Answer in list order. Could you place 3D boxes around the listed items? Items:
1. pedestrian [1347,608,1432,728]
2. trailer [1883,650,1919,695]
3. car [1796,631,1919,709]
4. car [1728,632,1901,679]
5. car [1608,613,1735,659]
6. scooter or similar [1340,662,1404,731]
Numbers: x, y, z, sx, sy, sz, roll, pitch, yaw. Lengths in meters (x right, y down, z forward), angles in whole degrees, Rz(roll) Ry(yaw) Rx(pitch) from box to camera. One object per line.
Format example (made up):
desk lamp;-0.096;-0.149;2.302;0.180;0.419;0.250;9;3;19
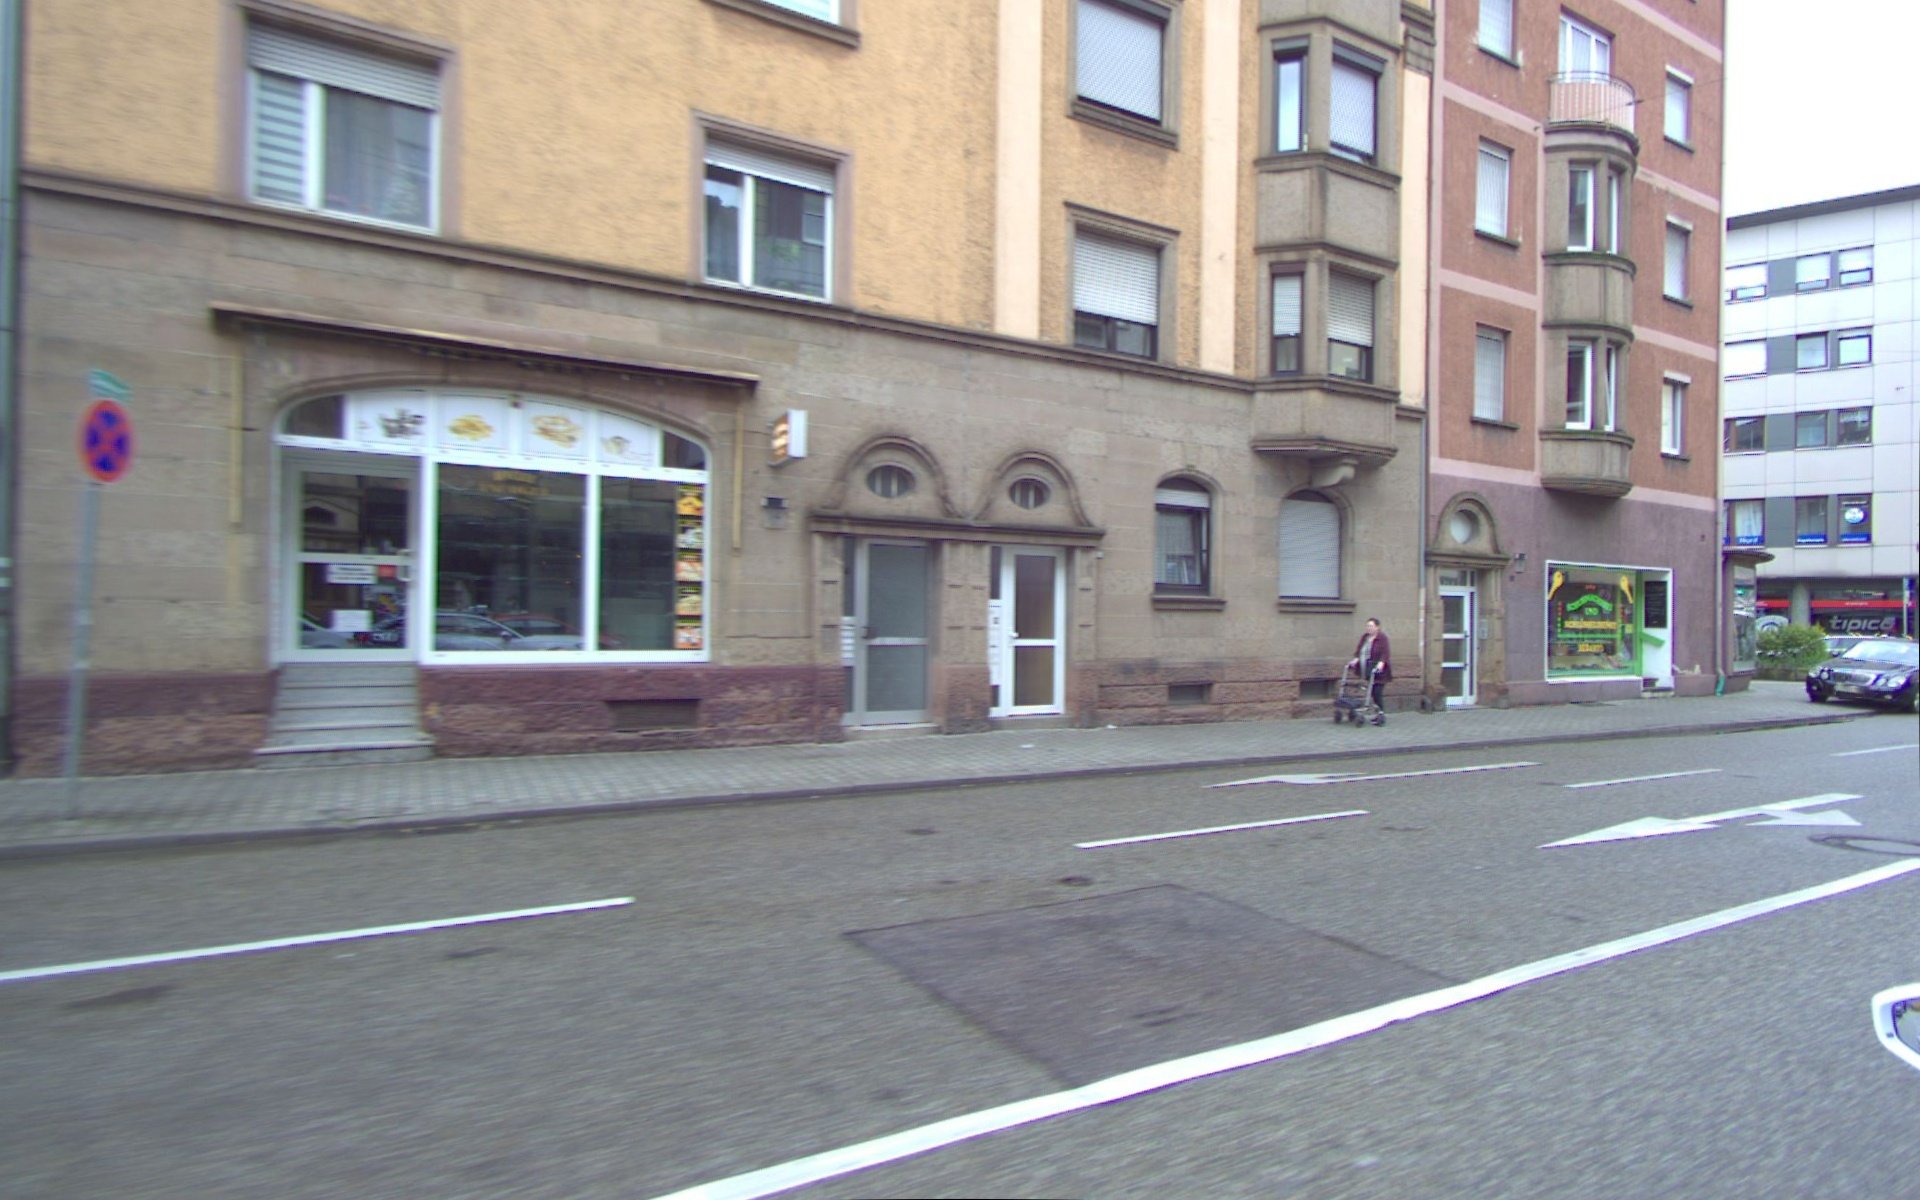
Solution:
pedestrian;6.499;1.005;15.192;0.847;1.701;0.834;2;1;-42
trailer;23.719;1.773;23.931;3.018;0.962;1.581;2;3;-28
car;20.376;1.459;21.849;4.737;1.416;1.841;2;2;-30
car;30.970;1.976;36.601;4.564;1.553;1.901;0;-2;33
car;24.537;1.240;34.681;3.473;1.502;1.686;0;-2;39
scooter or similar;6.041;1.402;14.734;0.477;0.937;0.705;2;0;-42
